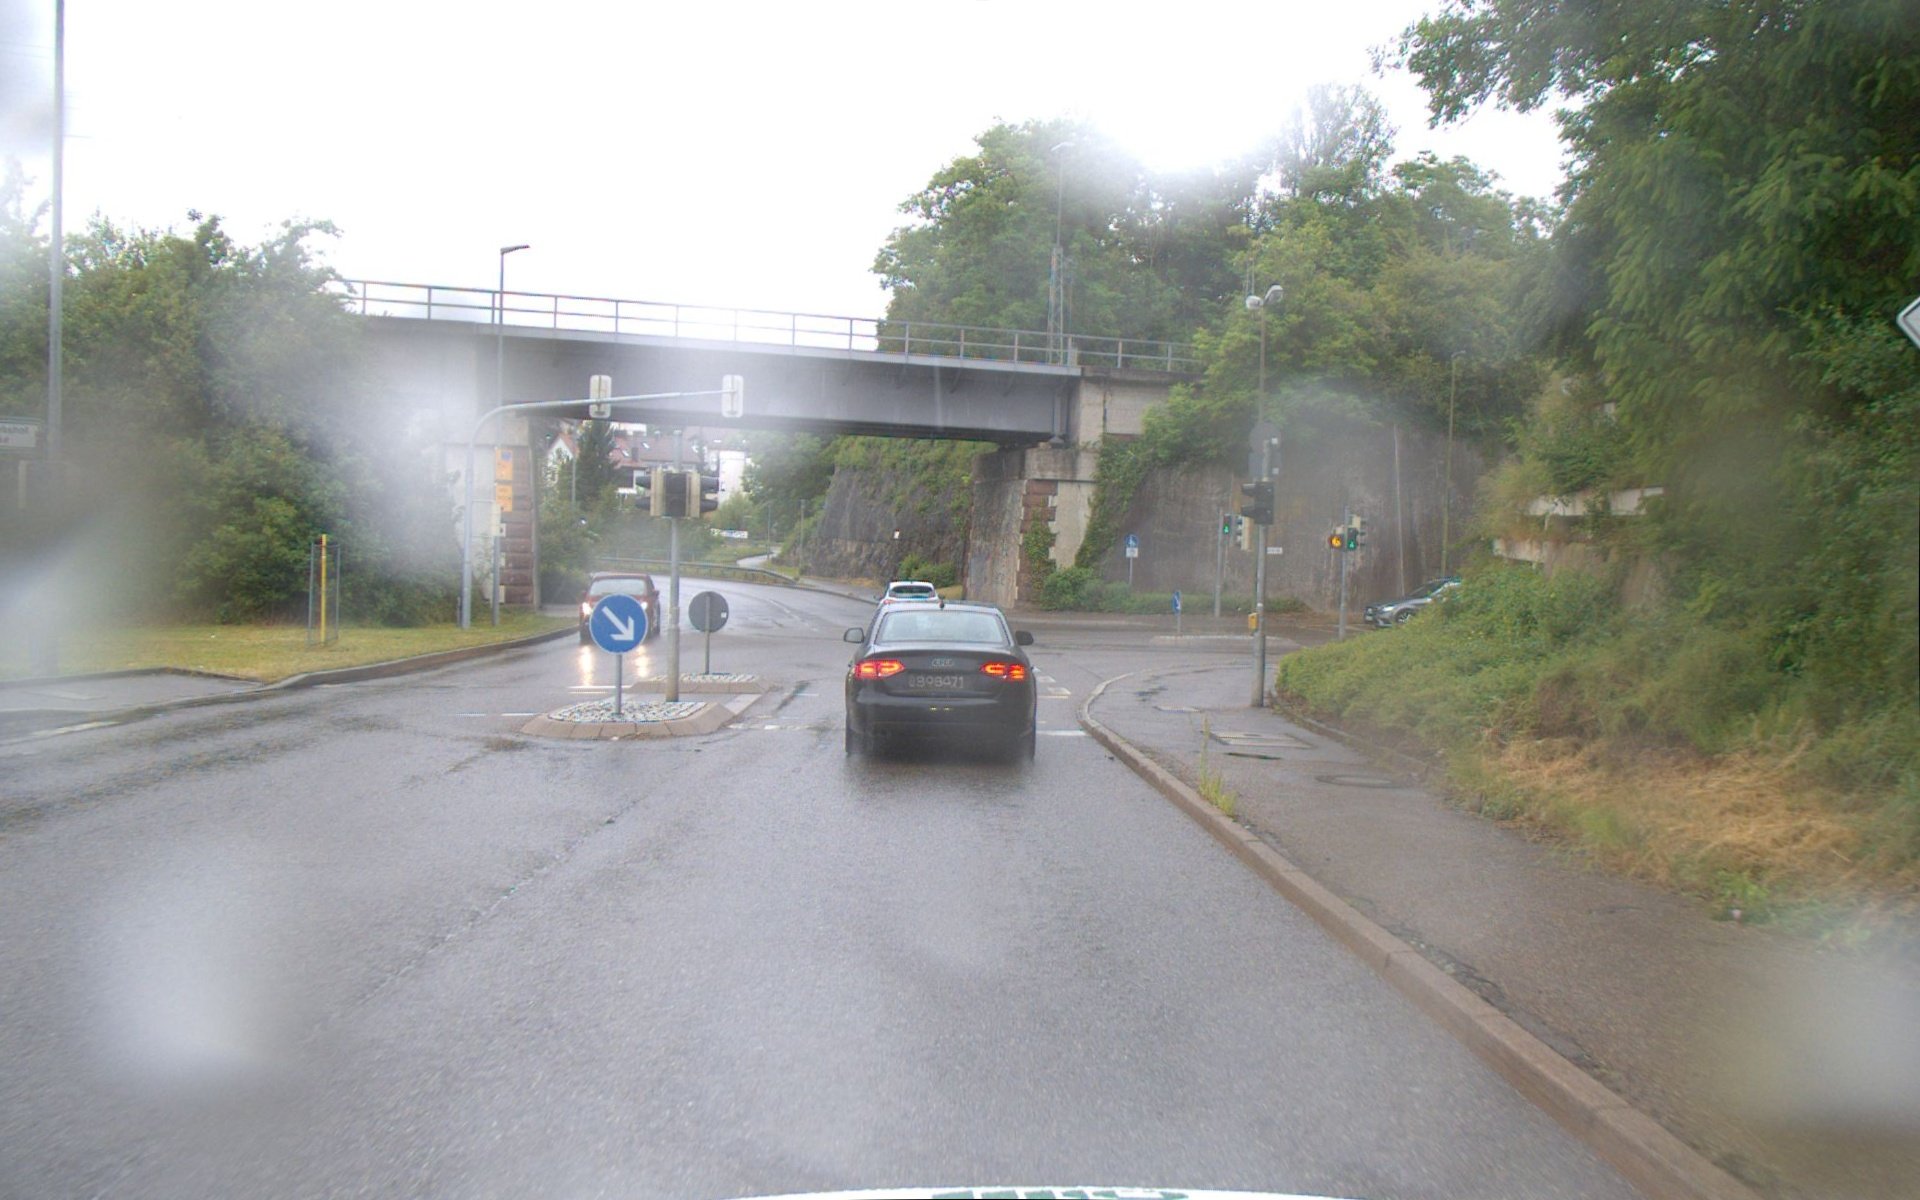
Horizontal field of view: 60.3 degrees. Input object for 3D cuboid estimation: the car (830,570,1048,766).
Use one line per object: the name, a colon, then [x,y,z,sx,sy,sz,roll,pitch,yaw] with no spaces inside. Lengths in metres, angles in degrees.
car: [-0.207,0.613,16.015,1.832,1.645,3.999,1,-1,-1]

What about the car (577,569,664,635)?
car: [-8.866,0.044,43.439,1.956,1.657,3.993,0,0,-8]

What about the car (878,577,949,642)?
car: [-1.210,0.280,43.767,1.786,1.613,3.999,1,-1,-1]

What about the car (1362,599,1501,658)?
car: [13.699,0.842,48.145,3.630,1.691,1.488,0,-1,-8]
